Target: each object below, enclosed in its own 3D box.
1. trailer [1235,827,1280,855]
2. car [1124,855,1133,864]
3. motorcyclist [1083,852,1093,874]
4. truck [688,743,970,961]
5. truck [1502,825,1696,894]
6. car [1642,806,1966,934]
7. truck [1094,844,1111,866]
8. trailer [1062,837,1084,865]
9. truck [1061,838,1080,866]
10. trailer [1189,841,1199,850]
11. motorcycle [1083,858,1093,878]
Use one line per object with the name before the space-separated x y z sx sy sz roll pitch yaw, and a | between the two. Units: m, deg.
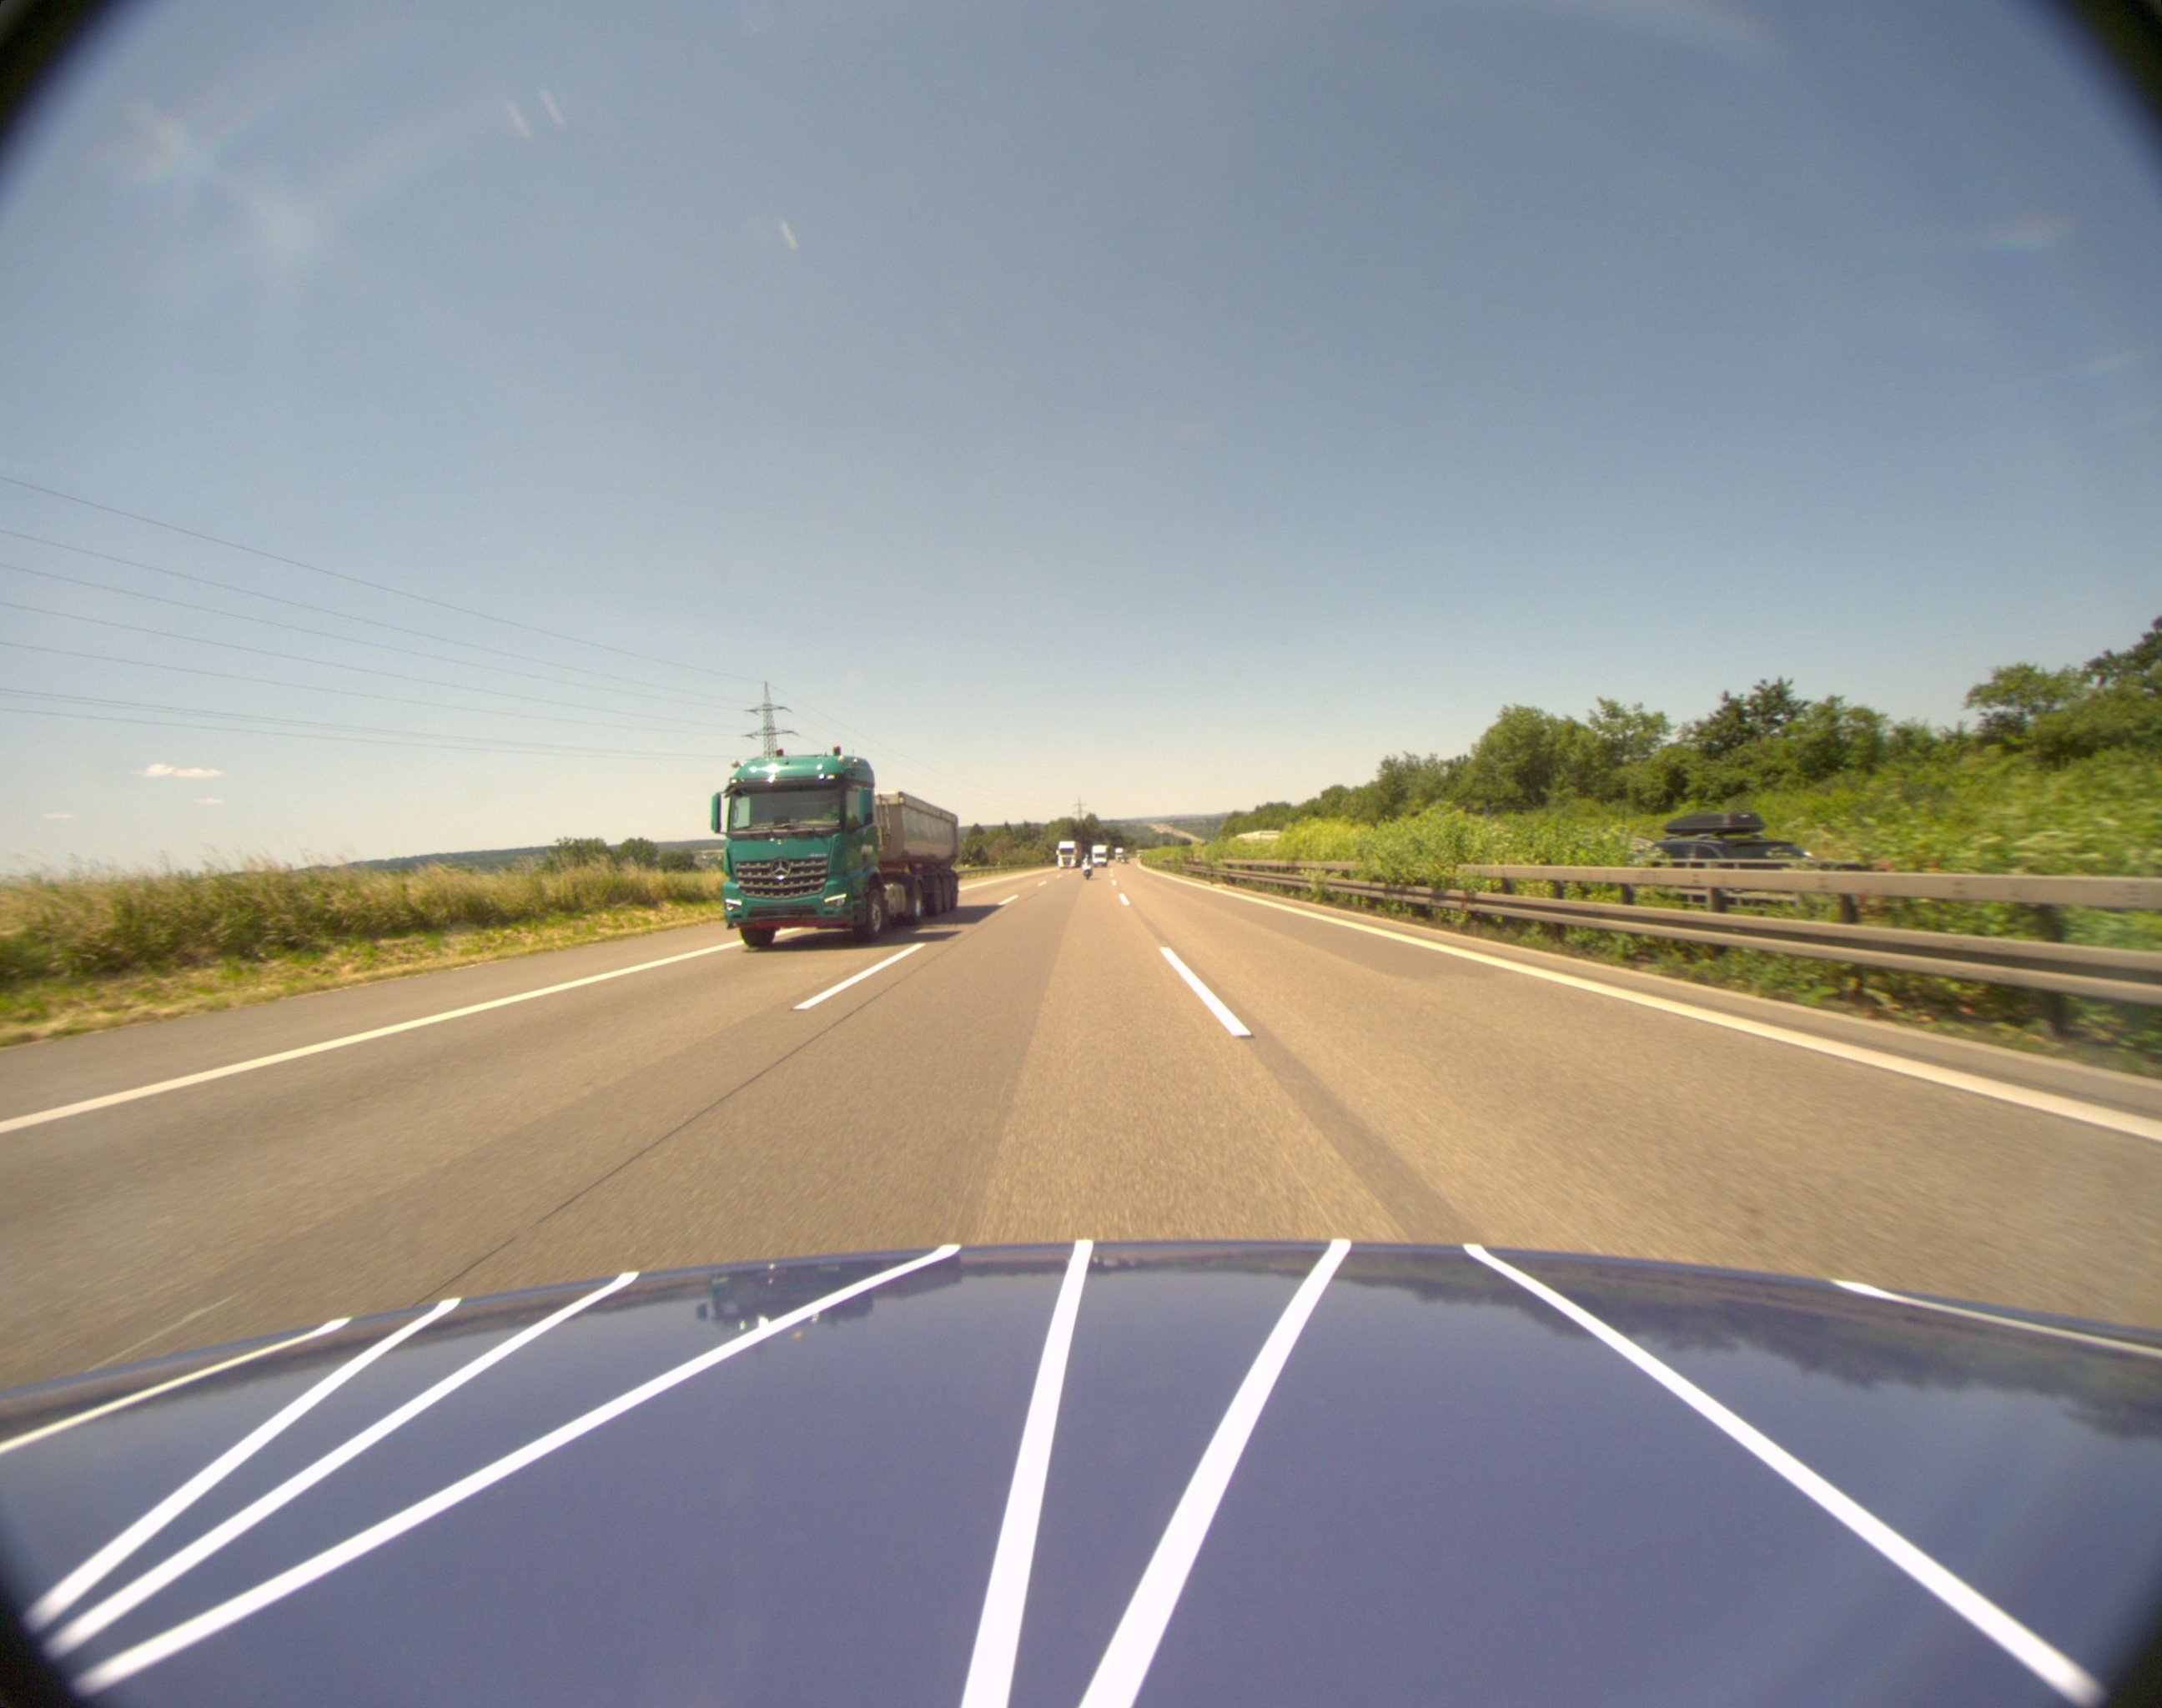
trailer | 23.059 -1.601 100.344 2.604 3.423 15.831 -2 0 2
car | 10.621 1.304 170.068 1.704 1.958 4.000 -2 0 2
motorcyclist | 0.483 0.590 52.032 0.613 1.499 0.513 -2 1 2
truck | -5.287 -0.047 19.527 2.872 3.702 12.762 -2 0 0
truck | 20.593 0.172 30.945 2.684 2.464 7.841 0 0 1
car | 11.833 0.223 12.870 1.820 1.855 3.865 0 0 1
truck | 3.362 0.080 117.368 2.512 3.268 8.107 -1 0 2
trailer | -1.219 -0.472 124.088 2.607 4.239 13.035 -2 0 3
truck | -1.568 -0.350 116.308 2.567 4.129 6.249 -2 0 2
trailer | 36.466 -2.676 246.125 2.572 2.694 11.411 -1 0 5
motorcycle | 0.488 0.952 51.901 0.631 1.279 2.313 -2 0 2
